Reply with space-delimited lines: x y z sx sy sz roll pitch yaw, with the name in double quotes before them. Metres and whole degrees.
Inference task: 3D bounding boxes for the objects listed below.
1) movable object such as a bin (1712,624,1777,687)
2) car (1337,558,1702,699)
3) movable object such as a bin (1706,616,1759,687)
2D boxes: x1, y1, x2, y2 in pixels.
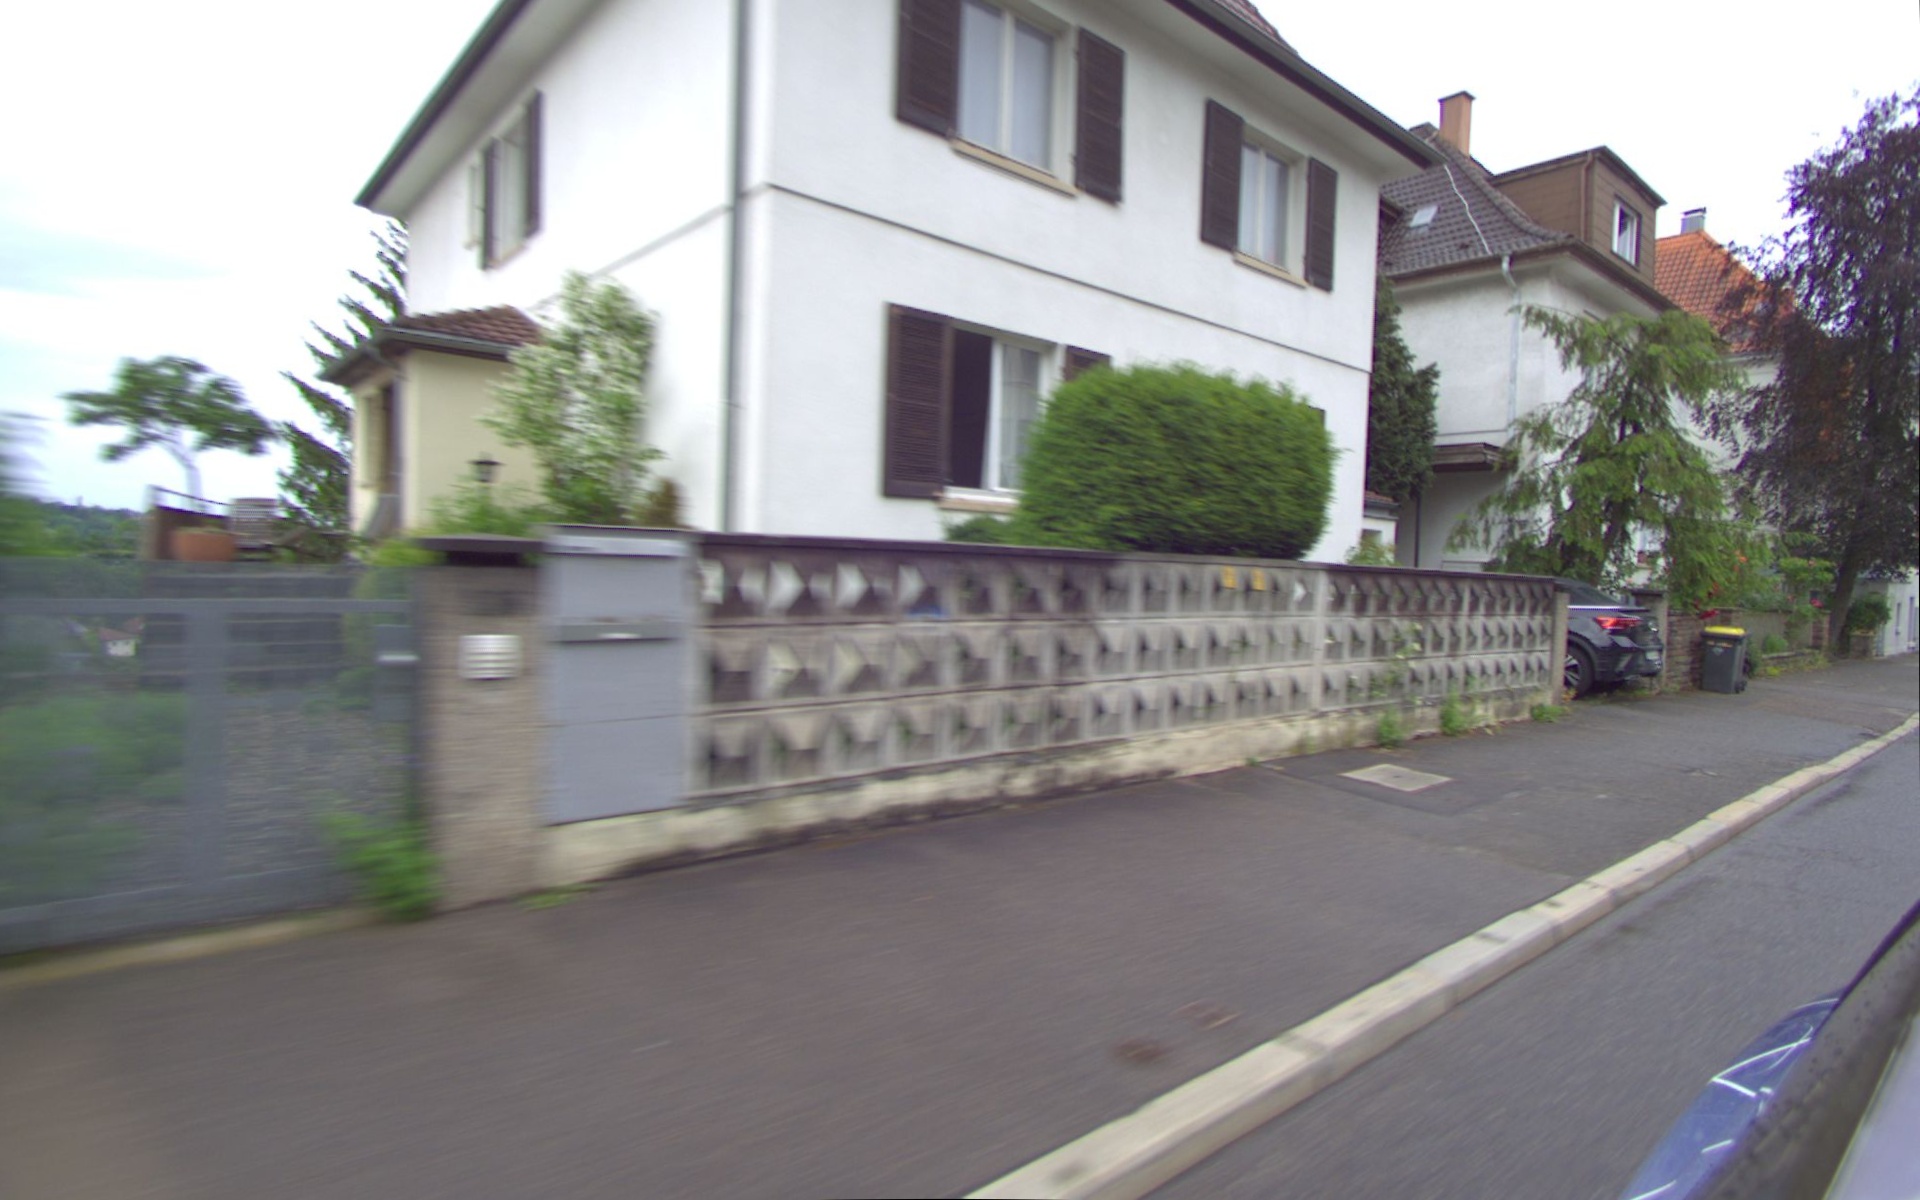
"movable object such as a bin" 11.445 0.796 14.763 0.494 0.866 0.652 3 0 -42
"car" 7.599 0.297 14.041 1.884 1.660 3.995 2 0 -40
"movable object such as a bin" 11.035 0.729 14.461 0.494 0.968 0.495 3 0 -43
